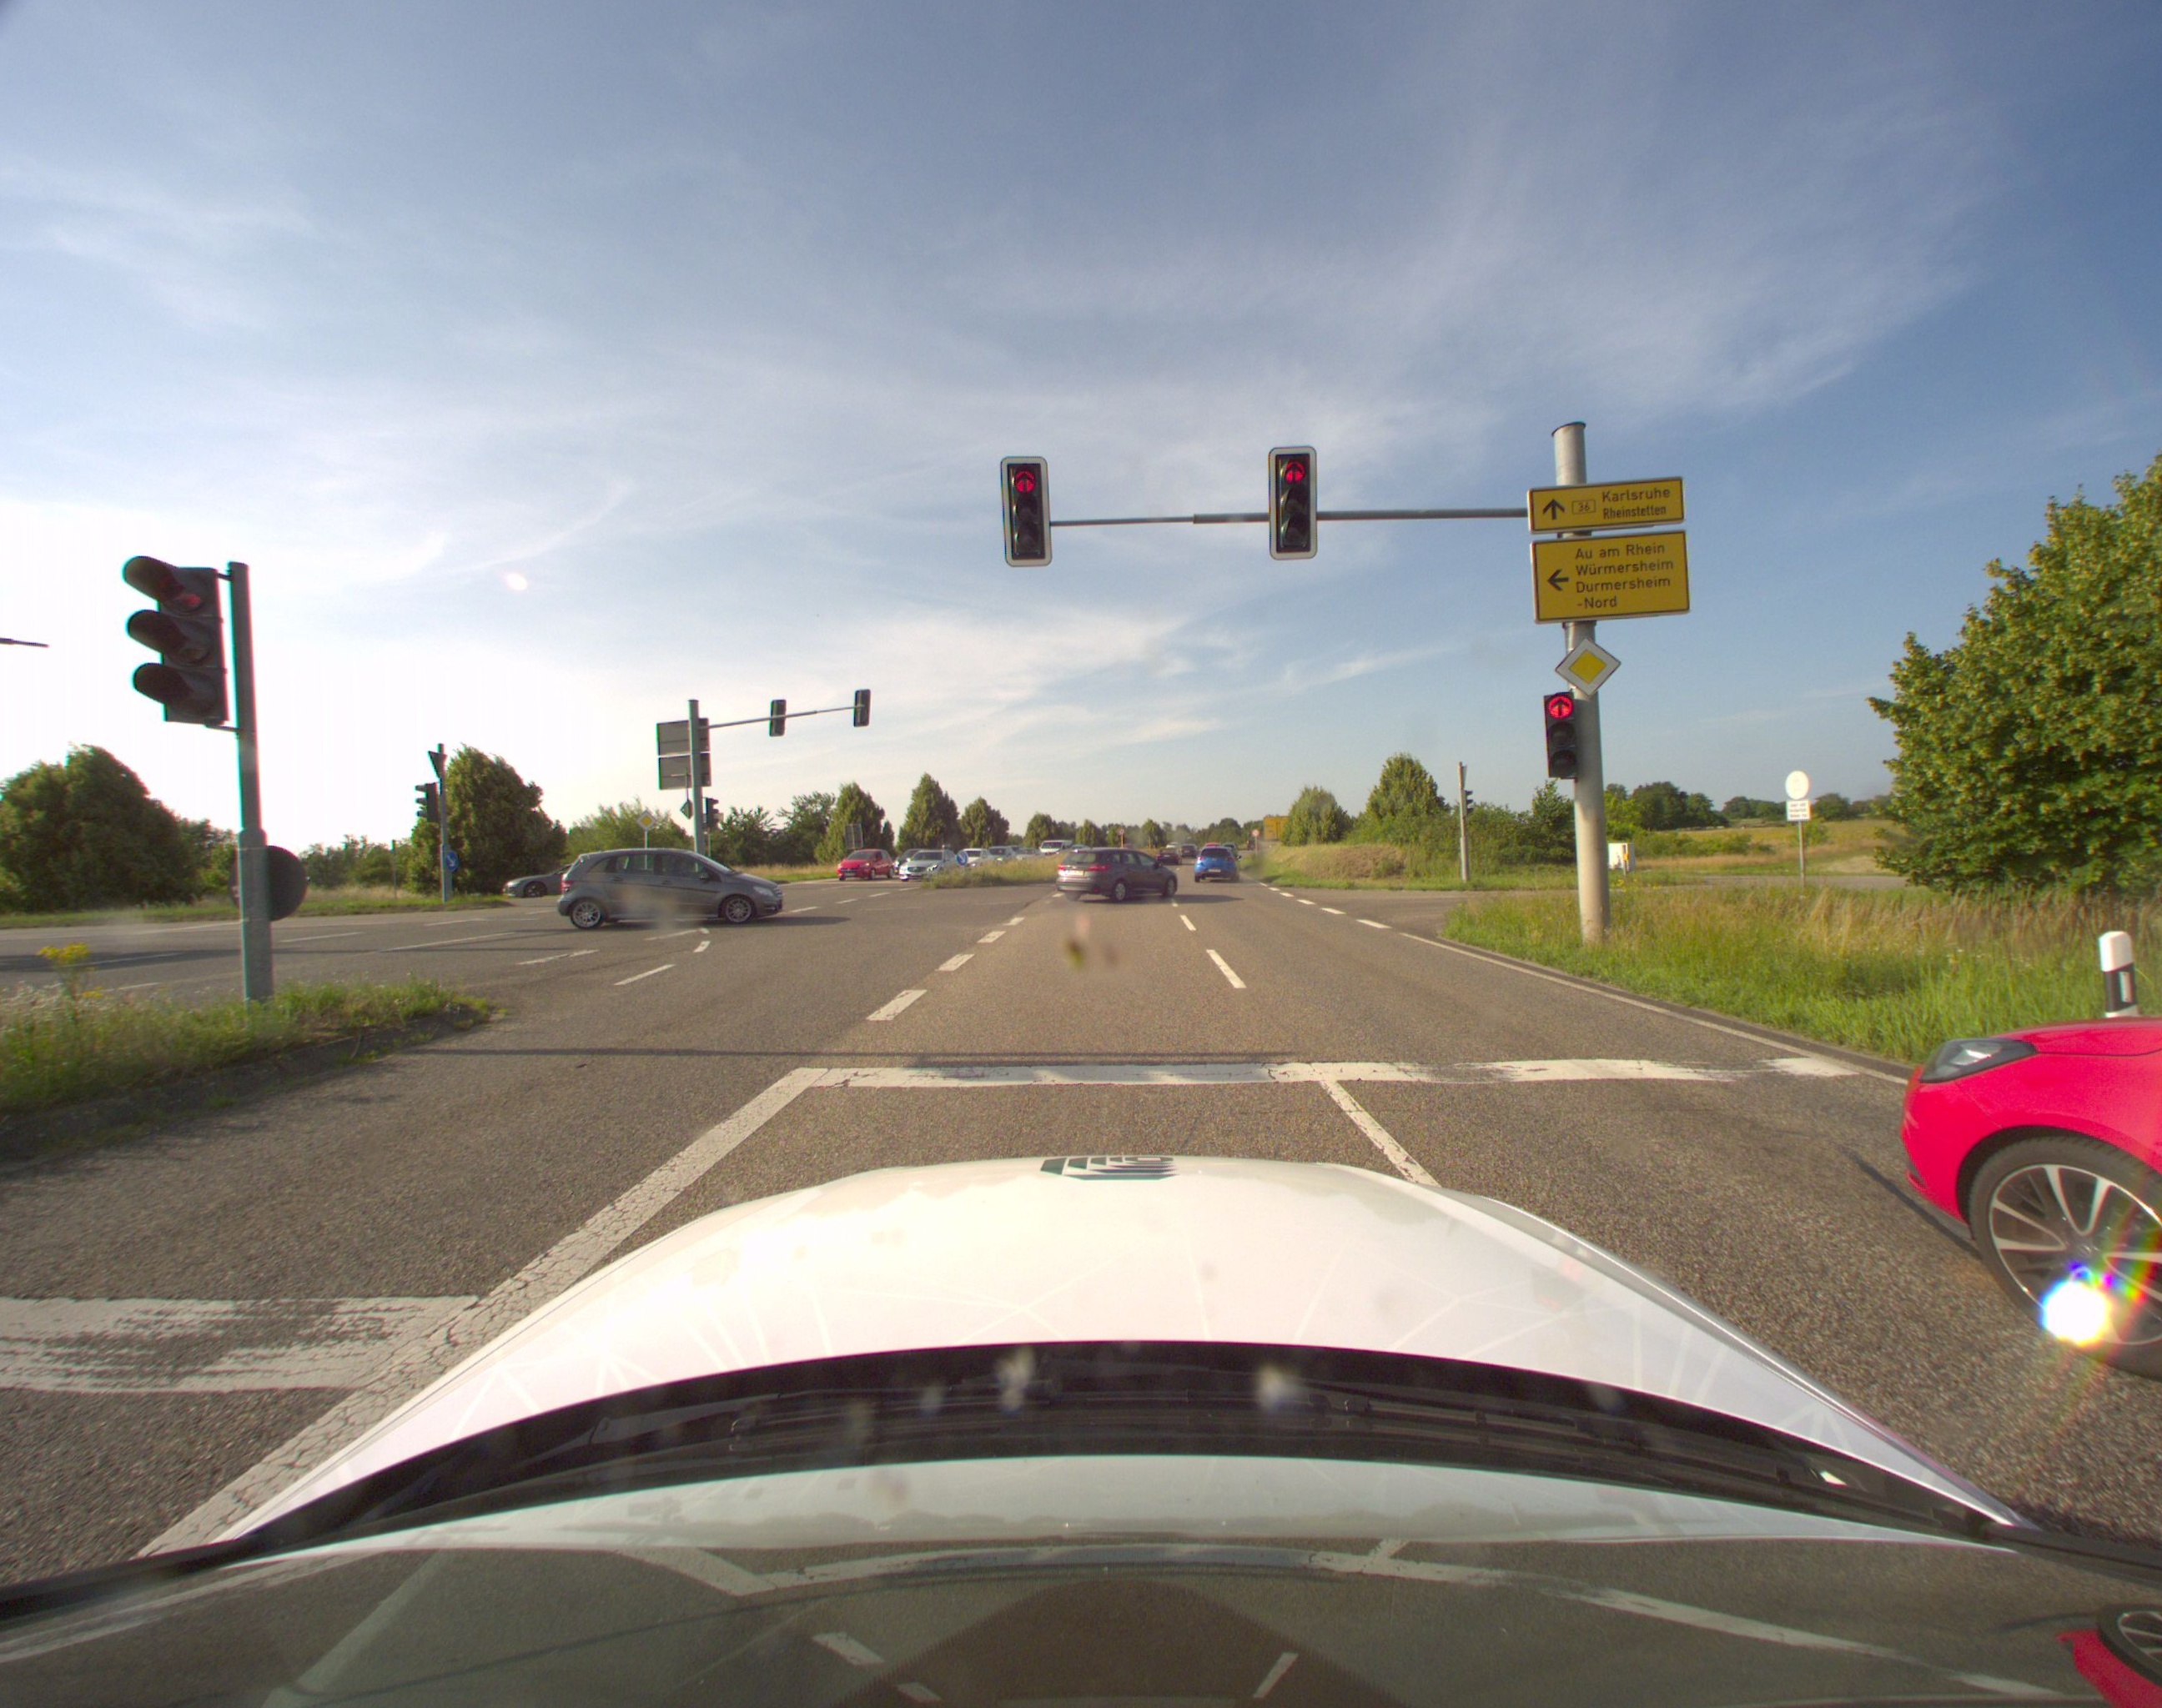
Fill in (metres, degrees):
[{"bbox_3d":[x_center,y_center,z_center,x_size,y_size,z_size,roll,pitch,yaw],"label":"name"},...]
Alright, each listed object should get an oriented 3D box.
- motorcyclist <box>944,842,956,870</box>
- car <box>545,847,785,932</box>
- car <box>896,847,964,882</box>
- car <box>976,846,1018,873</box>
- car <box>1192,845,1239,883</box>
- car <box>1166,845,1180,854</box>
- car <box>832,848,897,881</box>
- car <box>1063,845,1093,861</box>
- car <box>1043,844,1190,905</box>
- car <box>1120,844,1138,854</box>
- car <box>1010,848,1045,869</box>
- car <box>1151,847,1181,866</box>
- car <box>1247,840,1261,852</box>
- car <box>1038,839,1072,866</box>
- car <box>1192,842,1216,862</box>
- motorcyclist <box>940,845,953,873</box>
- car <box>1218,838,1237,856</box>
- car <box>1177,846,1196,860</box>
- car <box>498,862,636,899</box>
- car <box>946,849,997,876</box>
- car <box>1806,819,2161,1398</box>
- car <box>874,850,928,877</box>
[{"bbox_3d":[-8.793,0.134,54.870,0.660,1.817,0.605,-2,0,-1],"label":"motorcyclist"},{"bbox_3d":[-8.521,0.689,17.095,4.191,1.605,1.780,-1,-1,-16],"label":"car"},{"bbox_3d":[-6.959,0.454,38.109,1.777,1.488,4.660,-2,0,6],"label":"car"},{"bbox_3d":[-5.326,0.314,52.145,1.777,1.568,4.059,-2,0,6],"label":"car"},{"bbox_3d":[5.800,0.387,34.717,1.761,1.492,3.998,-1,0,12],"label":"car"},{"bbox_3d":[15.744,-0.826,139.031,1.772,1.385,4.068,-2,0,16],"label":"car"},{"bbox_3d":[-10.610,0.469,40.156,1.711,1.488,3.812,-2,0,7],"label":"car"},{"bbox_3d":[-0.255,-0.130,76.229,1.772,1.385,4.068,-2,0,16],"label":"car"},{"bbox_3d":[1.130,0.519,23.445,1.792,1.565,4.559,-1,0,40],"label":"car"},{"bbox_3d":[6.994,-0.788,119.263,1.772,1.385,4.068,-2,0,16],"label":"car"},{"bbox_3d":[-3.801,0.288,58.346,1.777,1.385,4.059,-2,0,6],"label":"car"},{"bbox_3d":[6.455,0.199,61.438,1.897,1.323,4.289,-1,-1,10],"label":"car"},{"bbox_3d":[27.406,-1.225,129.062,1.898,1.734,4.287,-1,-1,8],"label":"car"},{"bbox_3d":[-2.147,-0.140,67.583,1.913,2.078,4.255,-2,0,10],"label":"car"},{"bbox_3d":[10.652,-0.154,70.802,1.885,1.565,4.285,-1,-1,6],"label":"car"},{"bbox_3d":[-8.605,0.318,52.040,0.660,1.747,0.605,-2,0,-1],"label":"motorcyclist"},{"bbox_3d":[15.363,-0.683,85.531,1.897,1.800,4.290,-1,-1,10],"label":"car"},{"bbox_3d":[10.772,-0.098,83.104,1.827,1.377,4.285,-1,-1,6],"label":"car"},{"bbox_3d":[-21.506,1.077,34.210,4.698,1.292,1.424,-2,0,-42],"label":"car"},{"bbox_3d":[-6.123,0.441,45.891,1.777,1.433,4.317,-2,0,6],"label":"car"},{"bbox_3d":[3.737,0.661,1.334,1.692,1.549,3.748,-2,0,-2],"label":"car"},{"bbox_3d":[-10.386,0.499,47.161,1.777,1.433,4.059,-2,0,6],"label":"car"}]
